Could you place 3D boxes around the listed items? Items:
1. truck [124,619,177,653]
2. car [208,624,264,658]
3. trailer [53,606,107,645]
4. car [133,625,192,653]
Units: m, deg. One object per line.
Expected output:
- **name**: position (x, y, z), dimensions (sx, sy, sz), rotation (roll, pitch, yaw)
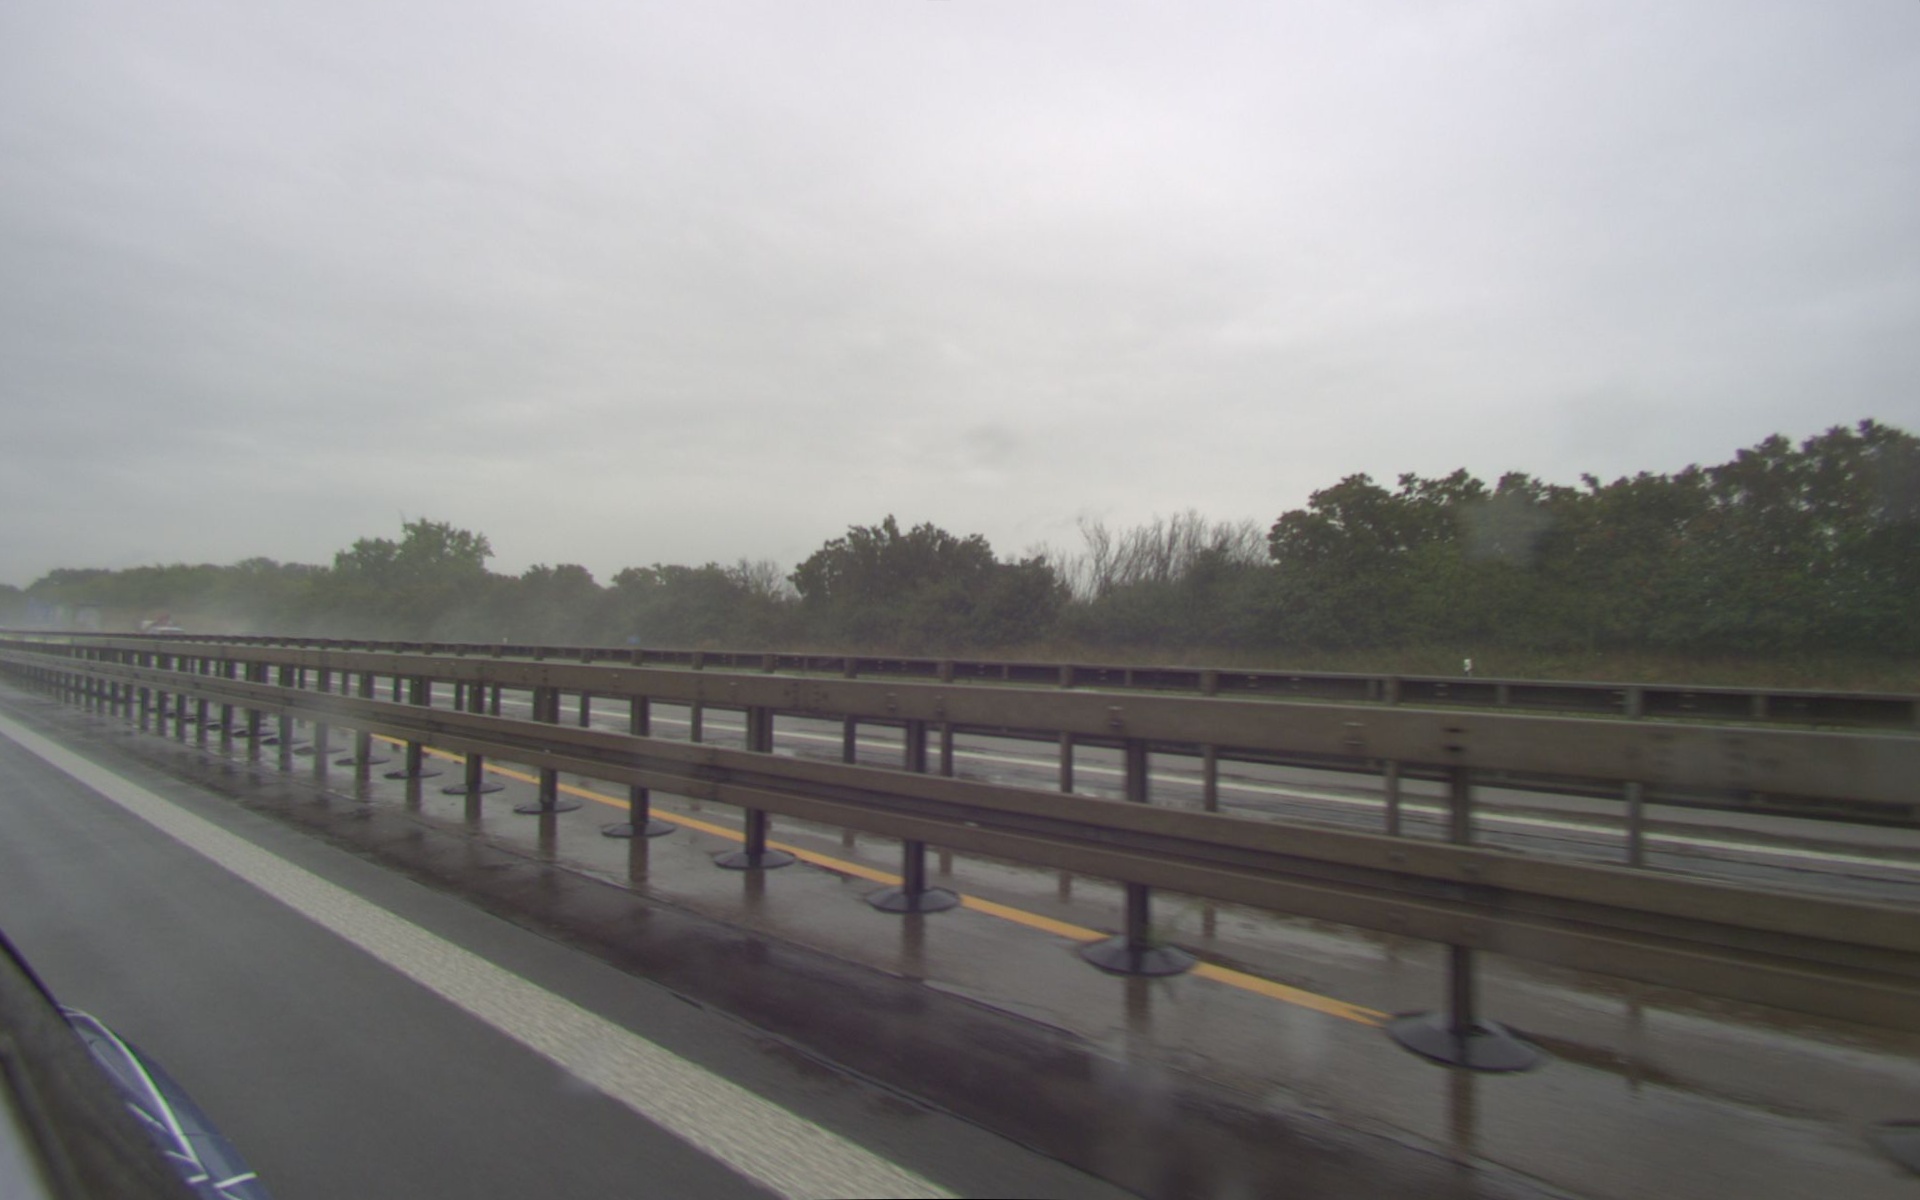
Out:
- **truck**: position (-66.468, 2.916, 83.028), dimensions (6.260, 2.639, 2.303), rotation (-1, -1, 41)
- **car**: position (-46.845, 2.630, 65.475), dimensions (4.383, 2.120, 1.973), rotation (-1, -1, 41)
- **trailer**: position (-92.421, 2.710, 106.172), dimensions (13.578, 3.833, 2.606), rotation (-1, -1, 42)
- **car**: position (-48.750, 2.357, 61.829), dimensions (4.651, 1.542, 1.973), rotation (-1, -1, 41)
